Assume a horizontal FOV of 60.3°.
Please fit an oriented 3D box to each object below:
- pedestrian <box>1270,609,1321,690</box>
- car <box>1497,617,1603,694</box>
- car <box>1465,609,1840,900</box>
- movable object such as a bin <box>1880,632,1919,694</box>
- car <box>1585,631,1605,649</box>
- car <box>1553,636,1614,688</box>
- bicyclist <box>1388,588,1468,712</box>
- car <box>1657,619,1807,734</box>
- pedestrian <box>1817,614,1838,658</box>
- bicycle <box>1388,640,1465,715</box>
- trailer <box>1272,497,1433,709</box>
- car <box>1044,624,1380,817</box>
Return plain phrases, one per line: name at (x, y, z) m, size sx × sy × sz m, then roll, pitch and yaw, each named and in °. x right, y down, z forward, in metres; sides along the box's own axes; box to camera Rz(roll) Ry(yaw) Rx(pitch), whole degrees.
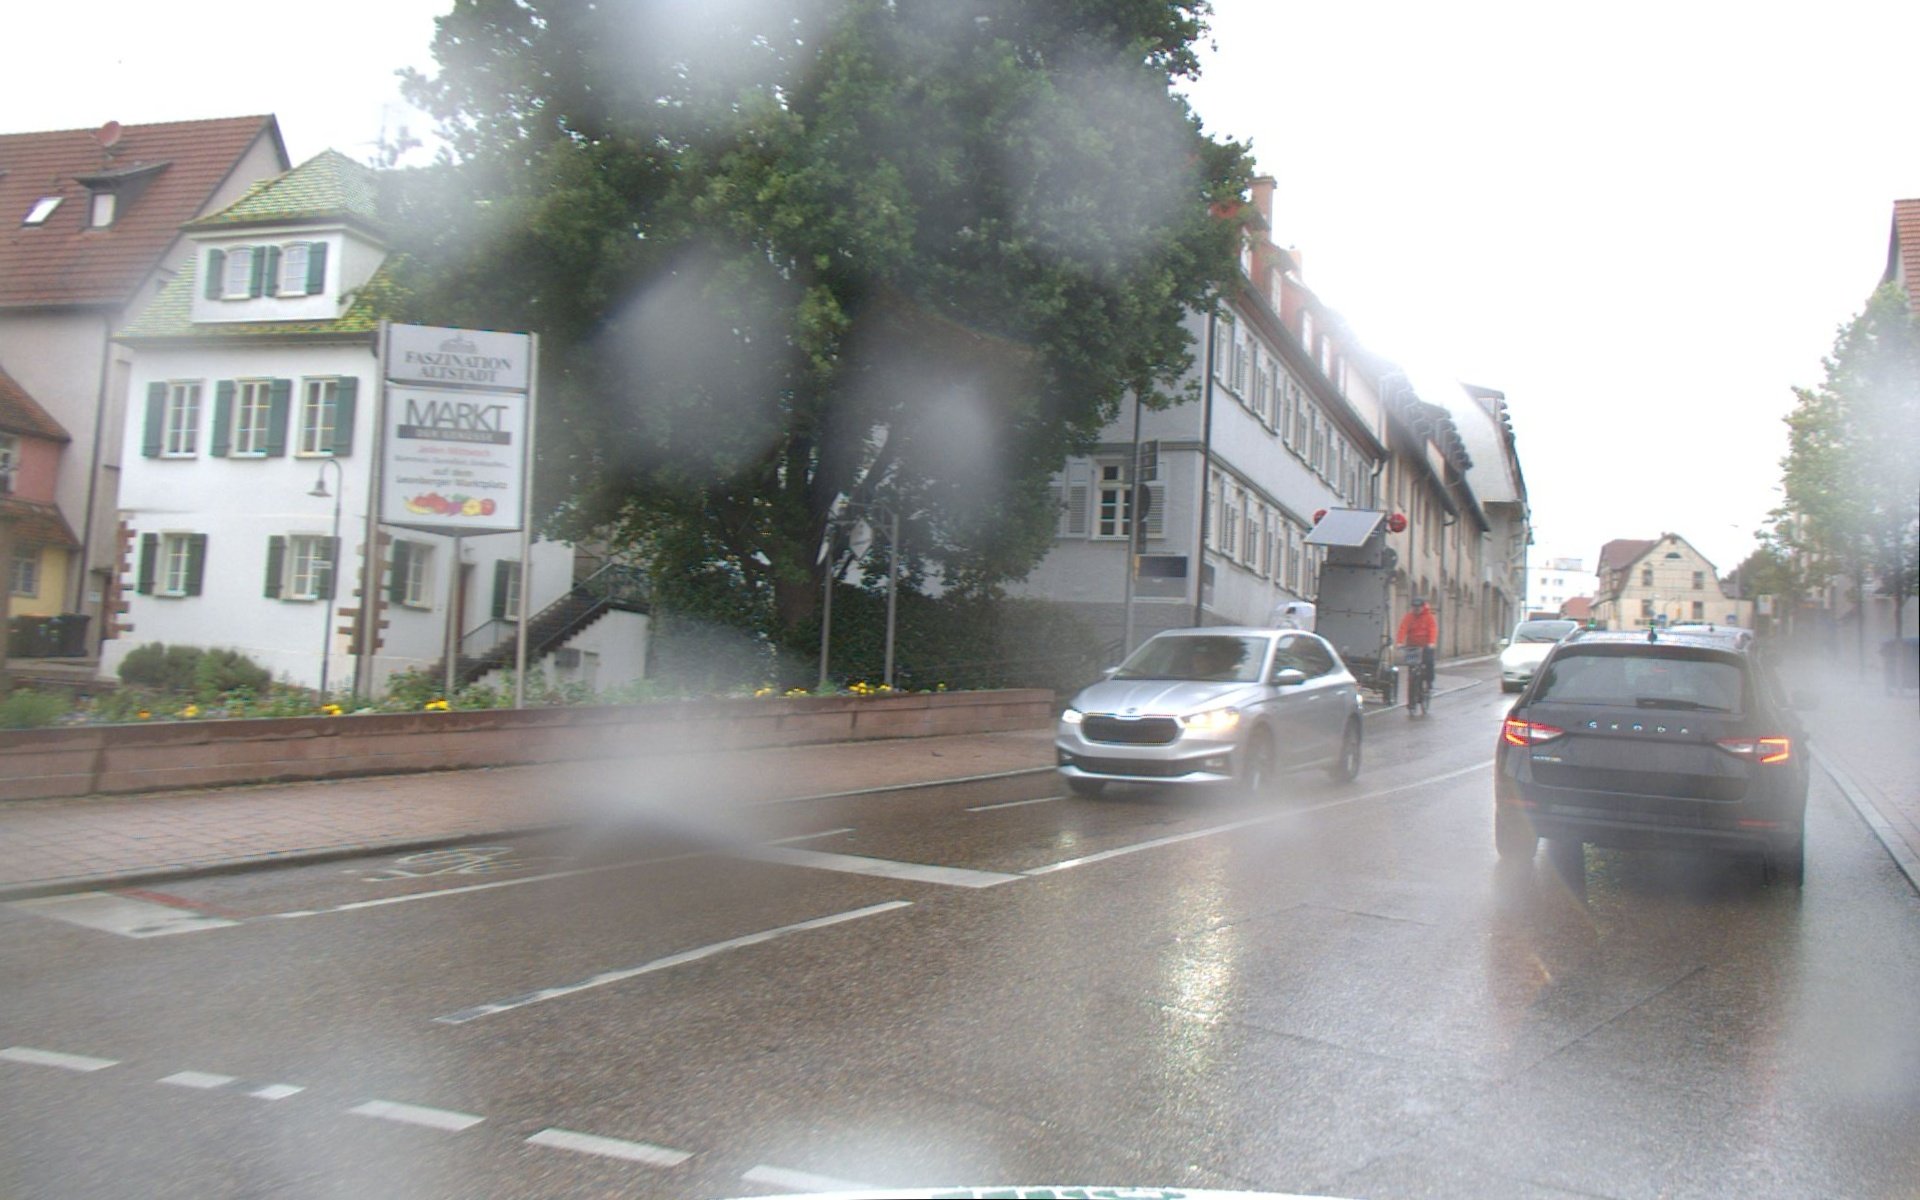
pedestrian at (6.773, 0.988, 33.380) m, size 0.693 × 1.556 × 1.044 m, roll 3°, pitch 0°, yaw 27°
car at (14.010, 1.313, 39.131) m, size 1.837 × 1.691 × 4.303 m, roll -2°, pitch -2°, yaw 26°
car at (4.766, 0.859, 10.984) m, size 1.851 × 1.473 × 4.349 m, roll 1°, pitch -1°, yaw 29°
movable object such as a bin at (21.872, 1.444, 37.818) m, size 1.260 × 1.373 × 1.486 m, roll 1°, pitch -1°, yaw 23°
car at (55.931, 3.509, 145.641) m, size 1.594 × 1.556 × 4.000 m, roll 2°, pitch 0°, yaw 21°
car at (20.250, 1.970, 53.655) m, size 1.737 × 1.561 × 3.710 m, roll 1°, pitch -1°, yaw 22°
bicyclist at (7.895, 0.834, 27.899) m, size 1.115 × 2.049 × 0.878 m, roll -1°, pitch -2°, yaw 31°
car at (11.398, 1.077, 24.367) m, size 1.820 × 1.499 × 3.996 m, roll 1°, pitch -1°, yaw 26°
pedestrian at (34.904, 1.449, 66.544) m, size 0.691 × 1.755 × 0.831 m, roll 2°, pitch 0°, yaw 27°
bicycle at (7.878, 1.282, 27.867) m, size 0.733 × 1.183 × 2.153 m, roll 1°, pitch -1°, yaw 30°
trailer at (7.310, 0.092, 30.468) m, size 1.954 × 3.596 × 4.571 m, roll 1°, pitch -1°, yaw 25°
car at (2.349, 0.968, 14.579) m, size 1.631 × 1.453 × 3.863 m, roll -1°, pitch -2°, yaw 30°
